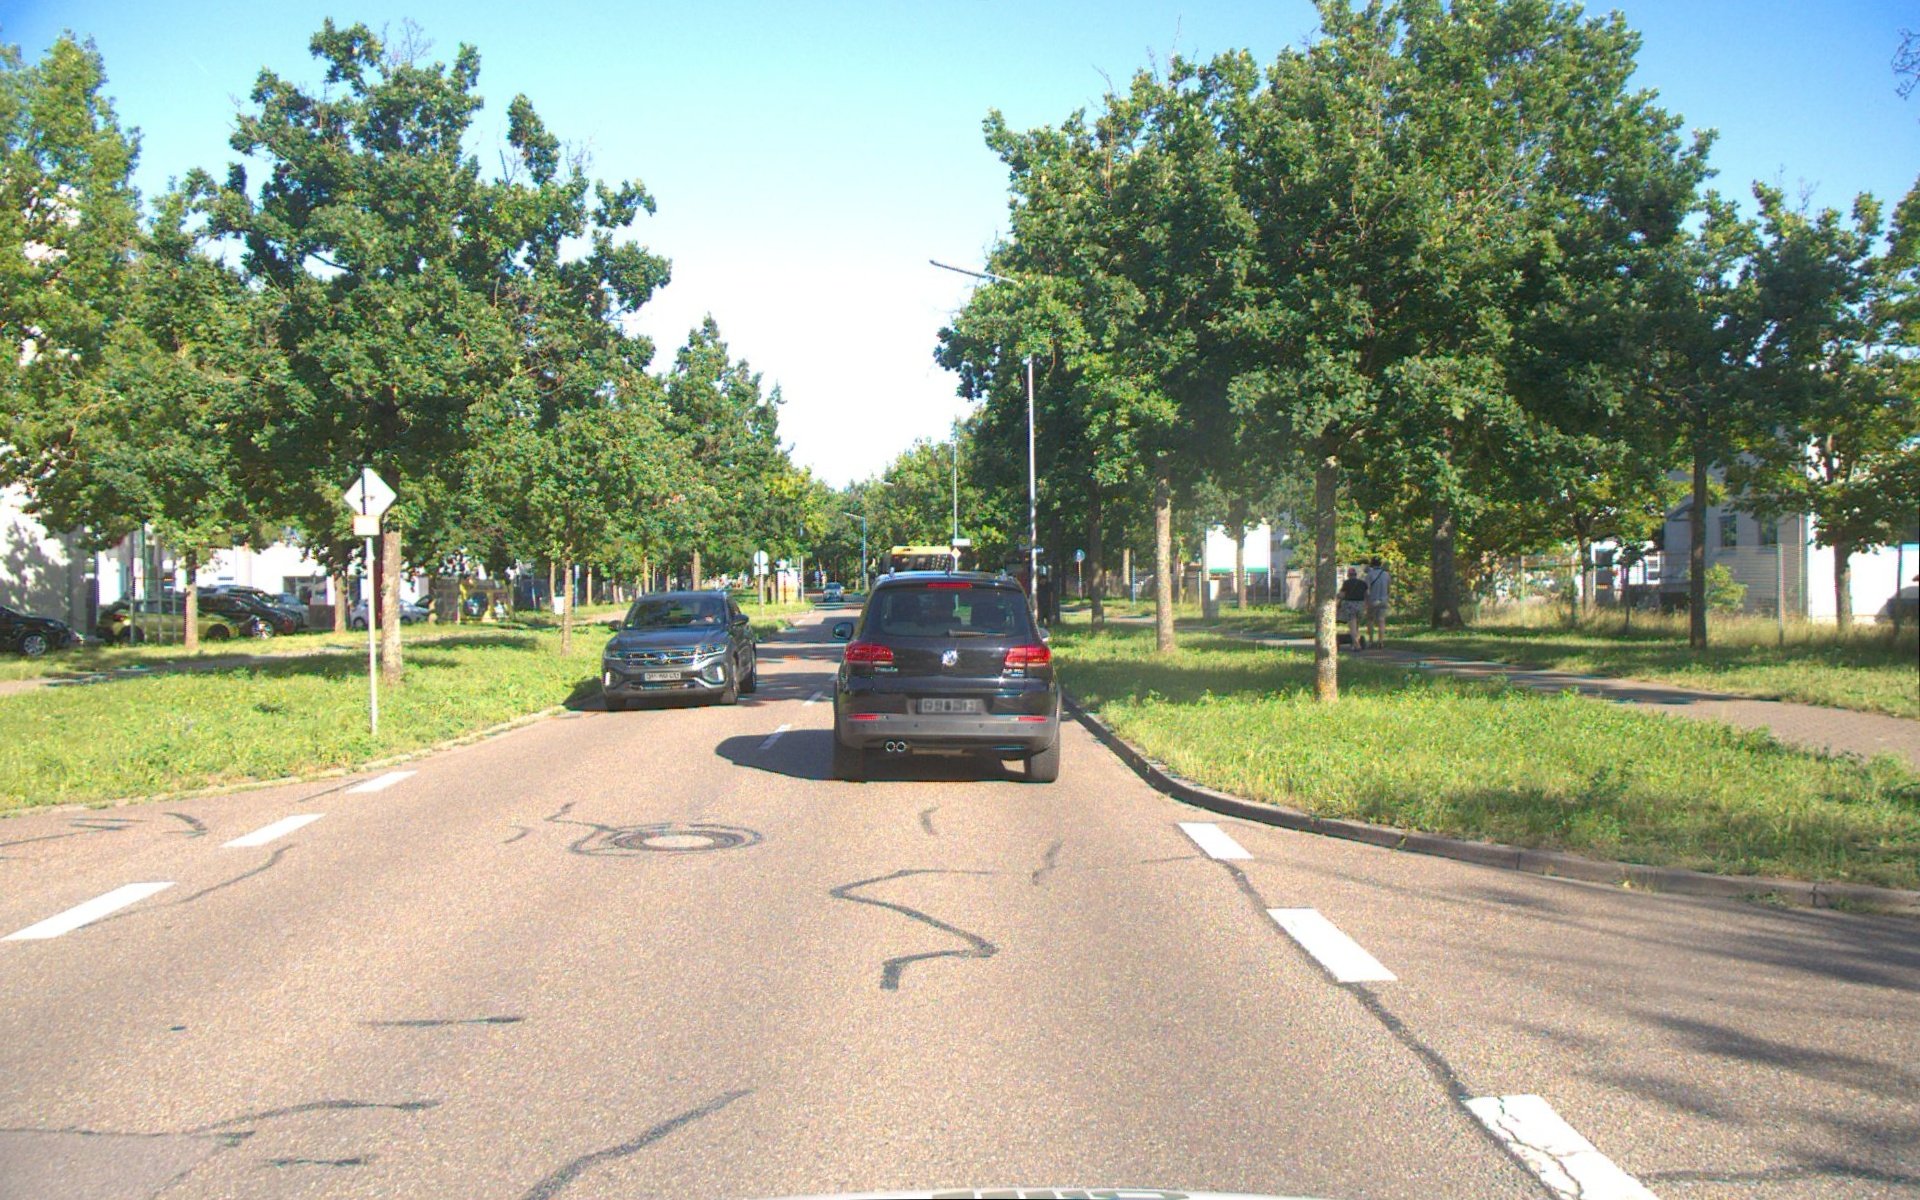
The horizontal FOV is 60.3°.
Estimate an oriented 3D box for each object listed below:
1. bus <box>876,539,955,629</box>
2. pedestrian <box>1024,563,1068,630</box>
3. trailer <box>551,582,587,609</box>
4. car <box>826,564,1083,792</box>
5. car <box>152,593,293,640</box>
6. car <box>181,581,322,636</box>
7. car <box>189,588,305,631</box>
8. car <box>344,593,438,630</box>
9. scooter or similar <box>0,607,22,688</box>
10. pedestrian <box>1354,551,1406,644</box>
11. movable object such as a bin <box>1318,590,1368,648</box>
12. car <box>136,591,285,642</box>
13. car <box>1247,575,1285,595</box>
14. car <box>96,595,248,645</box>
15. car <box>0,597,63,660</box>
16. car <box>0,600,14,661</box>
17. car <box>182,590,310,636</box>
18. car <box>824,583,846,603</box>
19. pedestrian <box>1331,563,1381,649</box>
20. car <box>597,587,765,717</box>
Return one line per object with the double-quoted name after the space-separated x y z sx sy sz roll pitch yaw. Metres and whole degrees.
-2.029 -0.708 70.644 2.710 3.517 11.200 -1 1 -5 "bus"
2.192 -0.092 42.145 0.999 1.680 1.099 -1 0 -2 "pedestrian"
-29.937 -0.357 126.790 2.061 1.948 3.738 -1 1 -3 "trailer"
-0.104 0.543 14.507 1.897 1.685 4.426 1 1 -2 "car"
-25.929 0.562 58.204 4.133 1.517 1.970 -2 1 -41 "car"
-28.451 0.319 66.501 4.821 2.049 1.968 -2 1 -44 "car"
-34.226 0.438 79.412 4.903 1.939 1.943 -1 1 14 "car"
-26.749 0.550 77.747 3.662 1.646 1.965 -1 0 13 "car"
-15.831 0.785 26.851 0.387 1.301 1.441 -1 0 -1 "scooter or similar"
8.363 -0.054 32.981 0.711 1.785 0.867 -3 0 -2 "pedestrian"
7.570 0.364 32.719 0.711 1.100 0.867 -3 1 -2 "movable object such as a bin"
-24.972 0.521 55.178 4.137 1.565 1.866 -2 1 -44 "car"
23.023 -1.143 124.530 1.731 1.408 3.762 -1 1 -7 "car"
-24.728 0.594 51.980 3.923 1.426 1.968 -2 1 -44 "car"
-25.503 0.761 42.794 3.947 1.537 1.782 -2 2 -31 "car"
-25.191 0.789 39.742 3.971 1.474 1.771 -2 1 -45 "car"
-26.614 0.458 61.655 4.119 1.589 1.977 -2 1 -34 "car"
-10.083 -0.593 133.053 1.710 1.490 4.423 -2 1 -4 "car"
7.613 0.110 31.848 0.711 1.631 0.867 -1 0 -2 "pedestrian"
-3.859 0.647 23.596 1.768 1.563 4.493 -2 1 -3 "car"
